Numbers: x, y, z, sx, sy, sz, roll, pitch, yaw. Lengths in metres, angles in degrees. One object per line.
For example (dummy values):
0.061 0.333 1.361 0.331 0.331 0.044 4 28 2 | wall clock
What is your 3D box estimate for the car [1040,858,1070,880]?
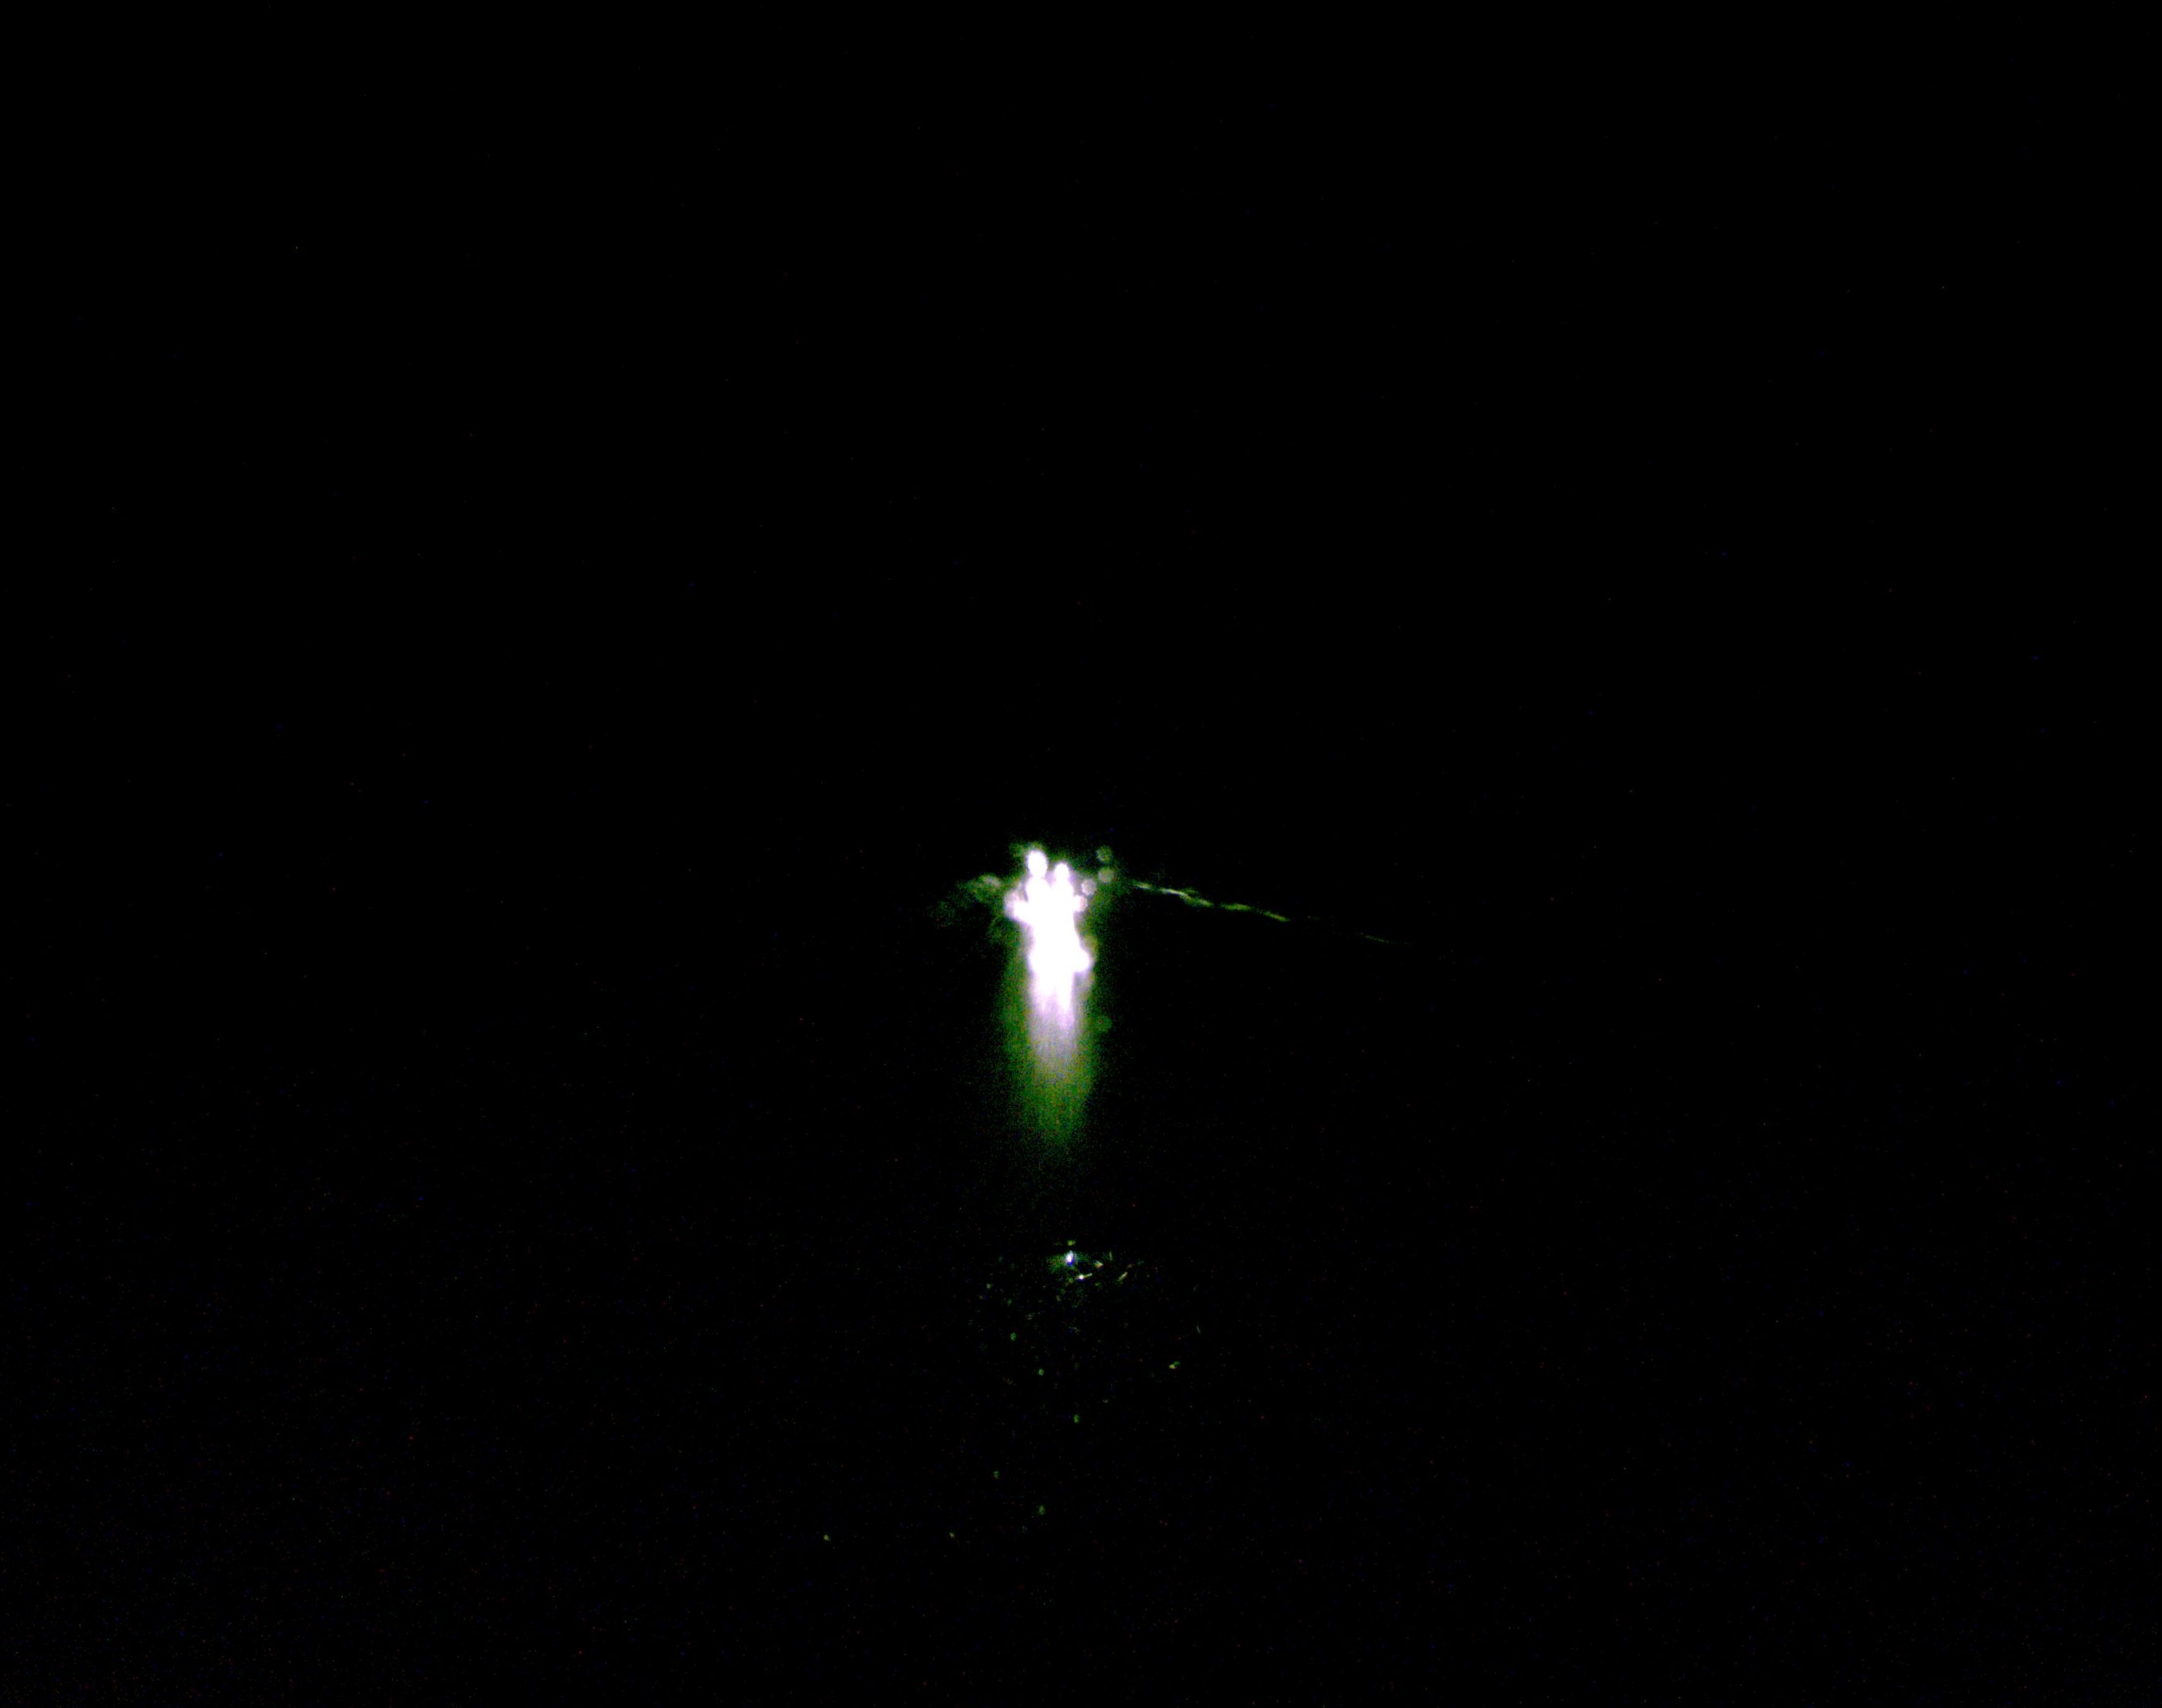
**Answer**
-1.853 1.039 53.681 1.999 1.412 3.999 -1 1 -2 | car
